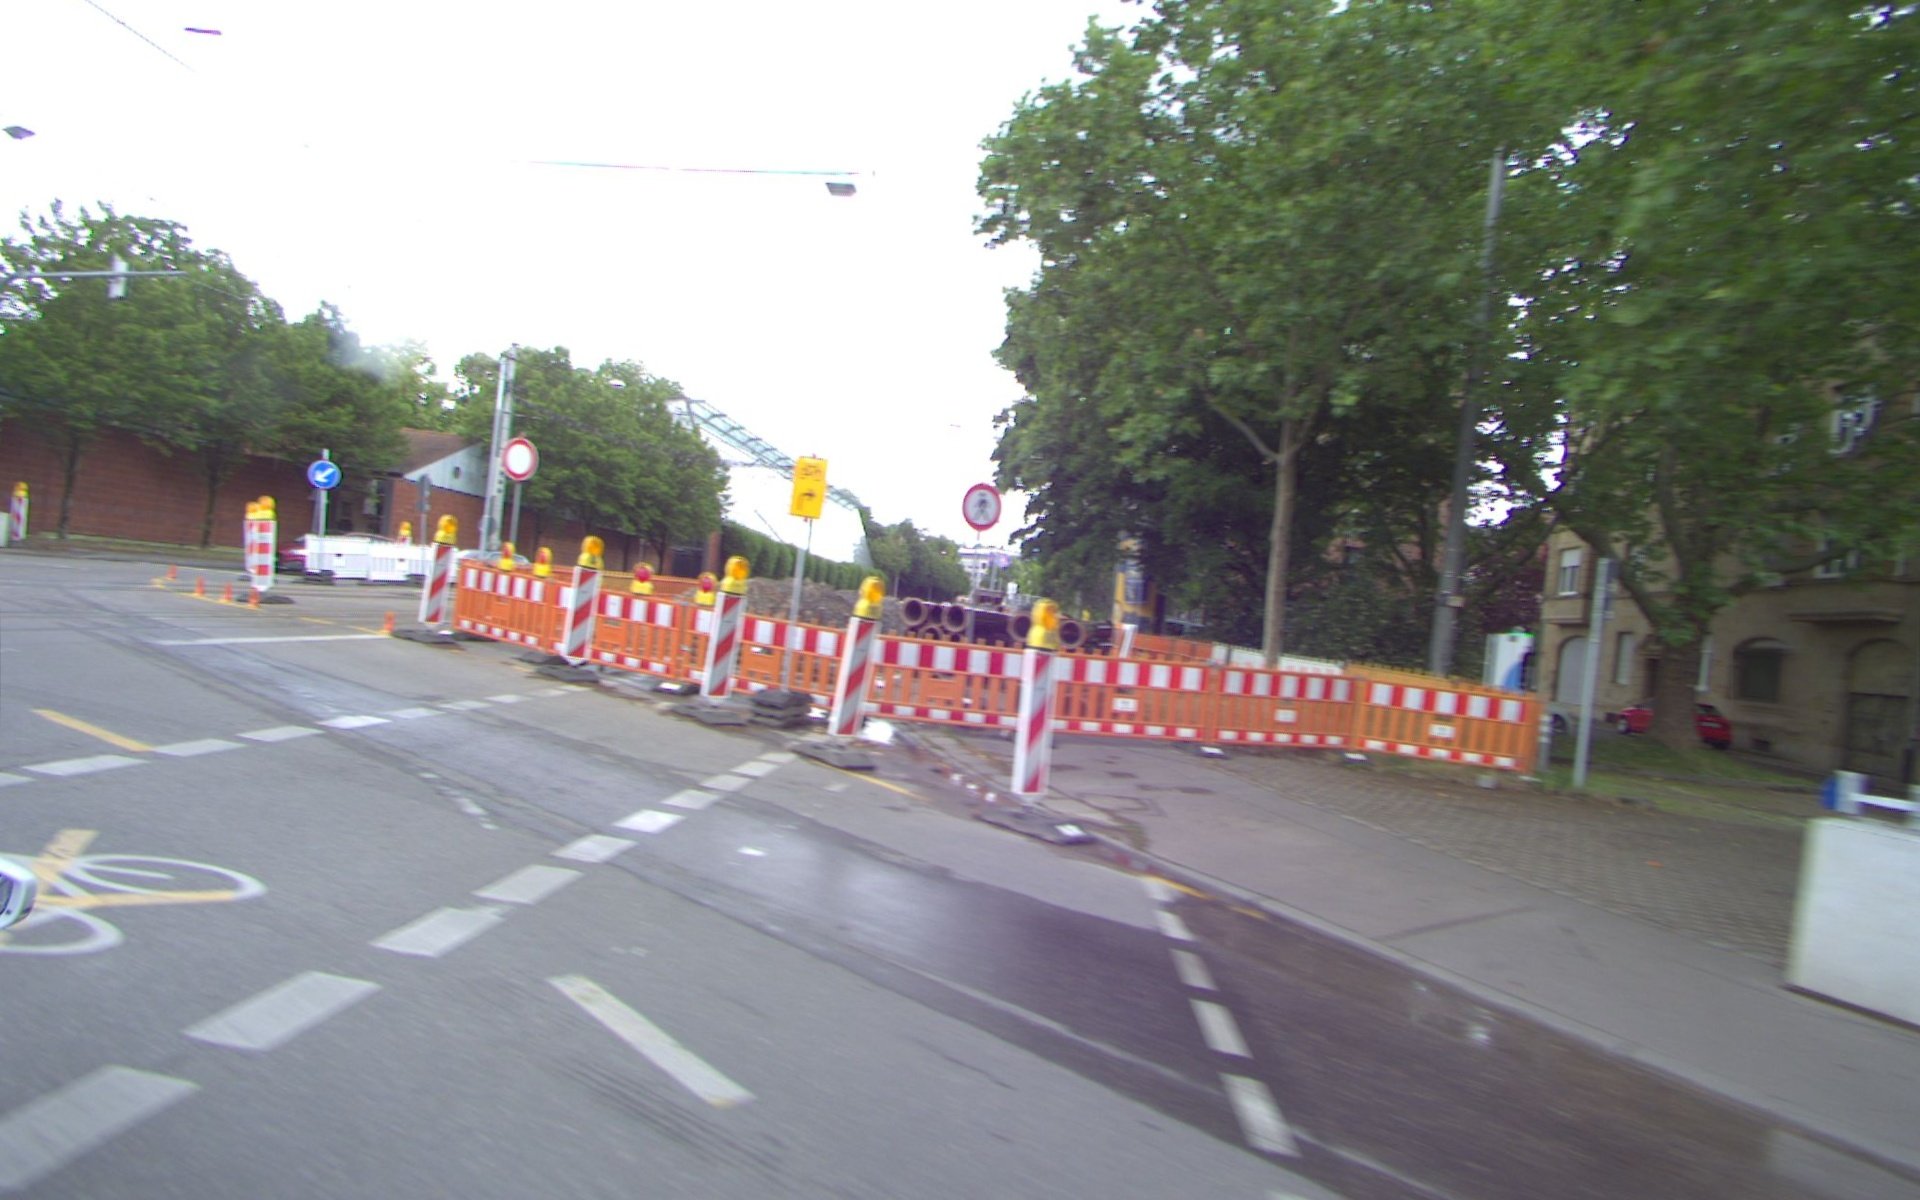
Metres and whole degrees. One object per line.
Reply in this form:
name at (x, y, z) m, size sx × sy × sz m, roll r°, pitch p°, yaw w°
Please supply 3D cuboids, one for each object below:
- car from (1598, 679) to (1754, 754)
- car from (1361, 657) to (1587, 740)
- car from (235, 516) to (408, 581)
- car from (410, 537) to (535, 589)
car at (22.684, 3.627, 32.117) m, size 1.962 × 1.733 × 4.409 m, roll 6°, pitch 0°, yaw 5°
car at (12.235, 2.324, 24.149) m, size 4.422 × 1.342 × 1.720 m, roll 6°, pitch 0°, yaw 2°
car at (-19.753, -1.542, 31.402) m, size 1.844 × 1.460 × 4.462 m, roll 5°, pitch -1°, yaw 13°
car at (-18.377, -1.367, 38.152) m, size 1.769 × 1.460 × 4.462 m, roll 5°, pitch -1°, yaw 13°
